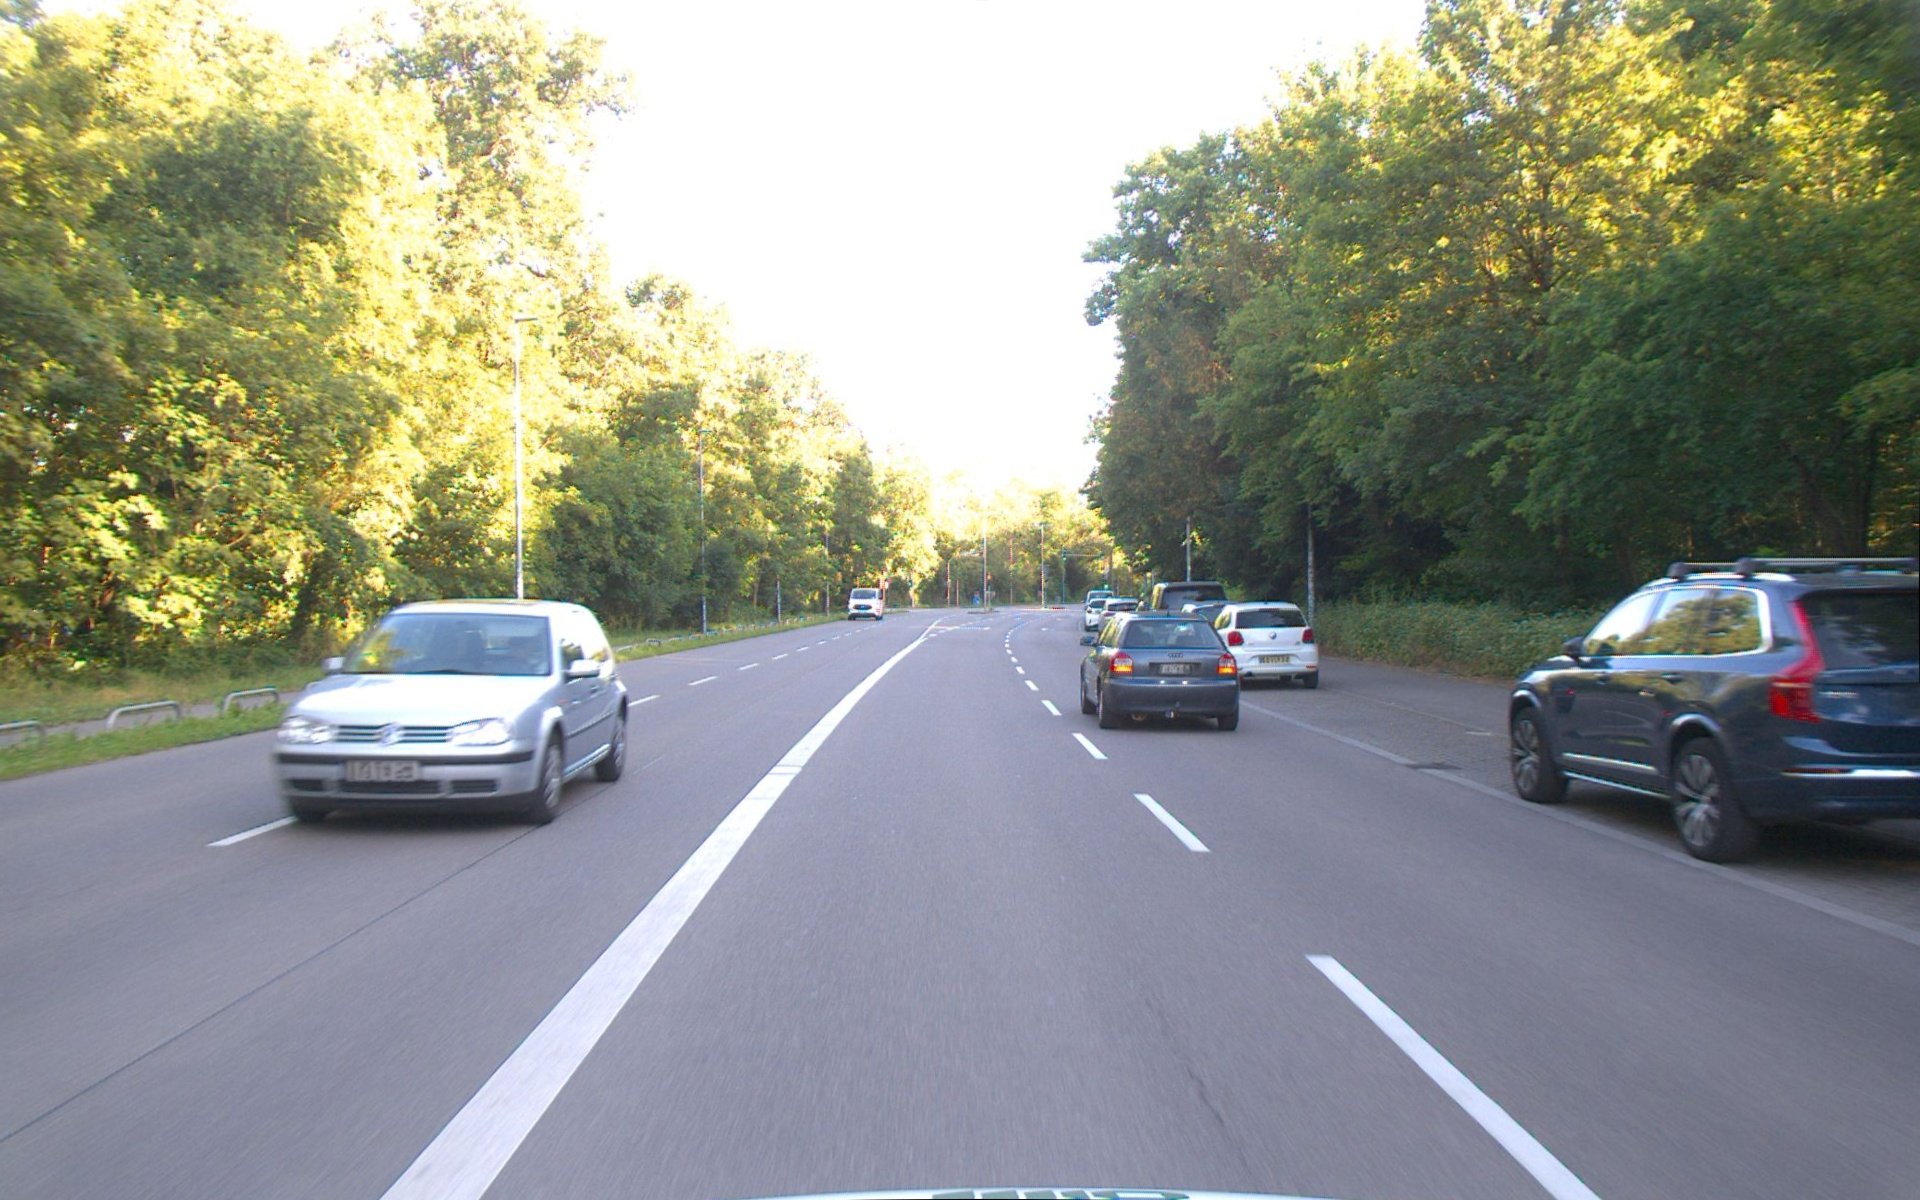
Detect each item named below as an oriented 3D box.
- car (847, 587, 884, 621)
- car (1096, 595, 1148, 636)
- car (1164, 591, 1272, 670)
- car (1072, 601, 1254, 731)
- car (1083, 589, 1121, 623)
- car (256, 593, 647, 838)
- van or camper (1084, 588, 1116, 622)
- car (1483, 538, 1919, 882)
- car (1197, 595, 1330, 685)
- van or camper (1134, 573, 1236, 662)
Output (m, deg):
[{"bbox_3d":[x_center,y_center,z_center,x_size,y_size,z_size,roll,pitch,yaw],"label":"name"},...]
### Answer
[{"bbox_3d":[-5.897,0.247,103.774,1.953,2.027,4.997,2,0,0],"label":"car"},{"bbox_3d":[6.149,0.561,63.041,1.692,1.467,4.668,0,0,2],"label":"car"},{"bbox_3d":[5.379,0.597,34.961,1.692,1.571,4.218,0,0,1],"label":"car"},{"bbox_3d":[2.486,0.763,21.149,1.693,1.467,4.088,0,0,-2],"label":"car"},{"bbox_3d":[6.644,0.280,77.762,1.691,1.549,4.092,0,0,4],"label":"car"},{"bbox_3d":[-3.409,0.687,11.850,1.647,1.431,3.889,1,0,-1],"label":"car"},{"bbox_3d":[8.495,0.305,100.369,1.794,2.005,5.344,0,0,4],"label":"van or camper"},{"bbox_3d":[5.440,0.587,11.744,1.792,1.900,5.073,0,0,-1],"label":"car"},{"bbox_3d":[5.371,0.664,29.738,1.692,1.467,4.101,-1,0,1],"label":"car"},{"bbox_3d":[5.477,0.396,40.849,1.854,1.982,5.135,-2,0,1],"label":"van or camper"}]
